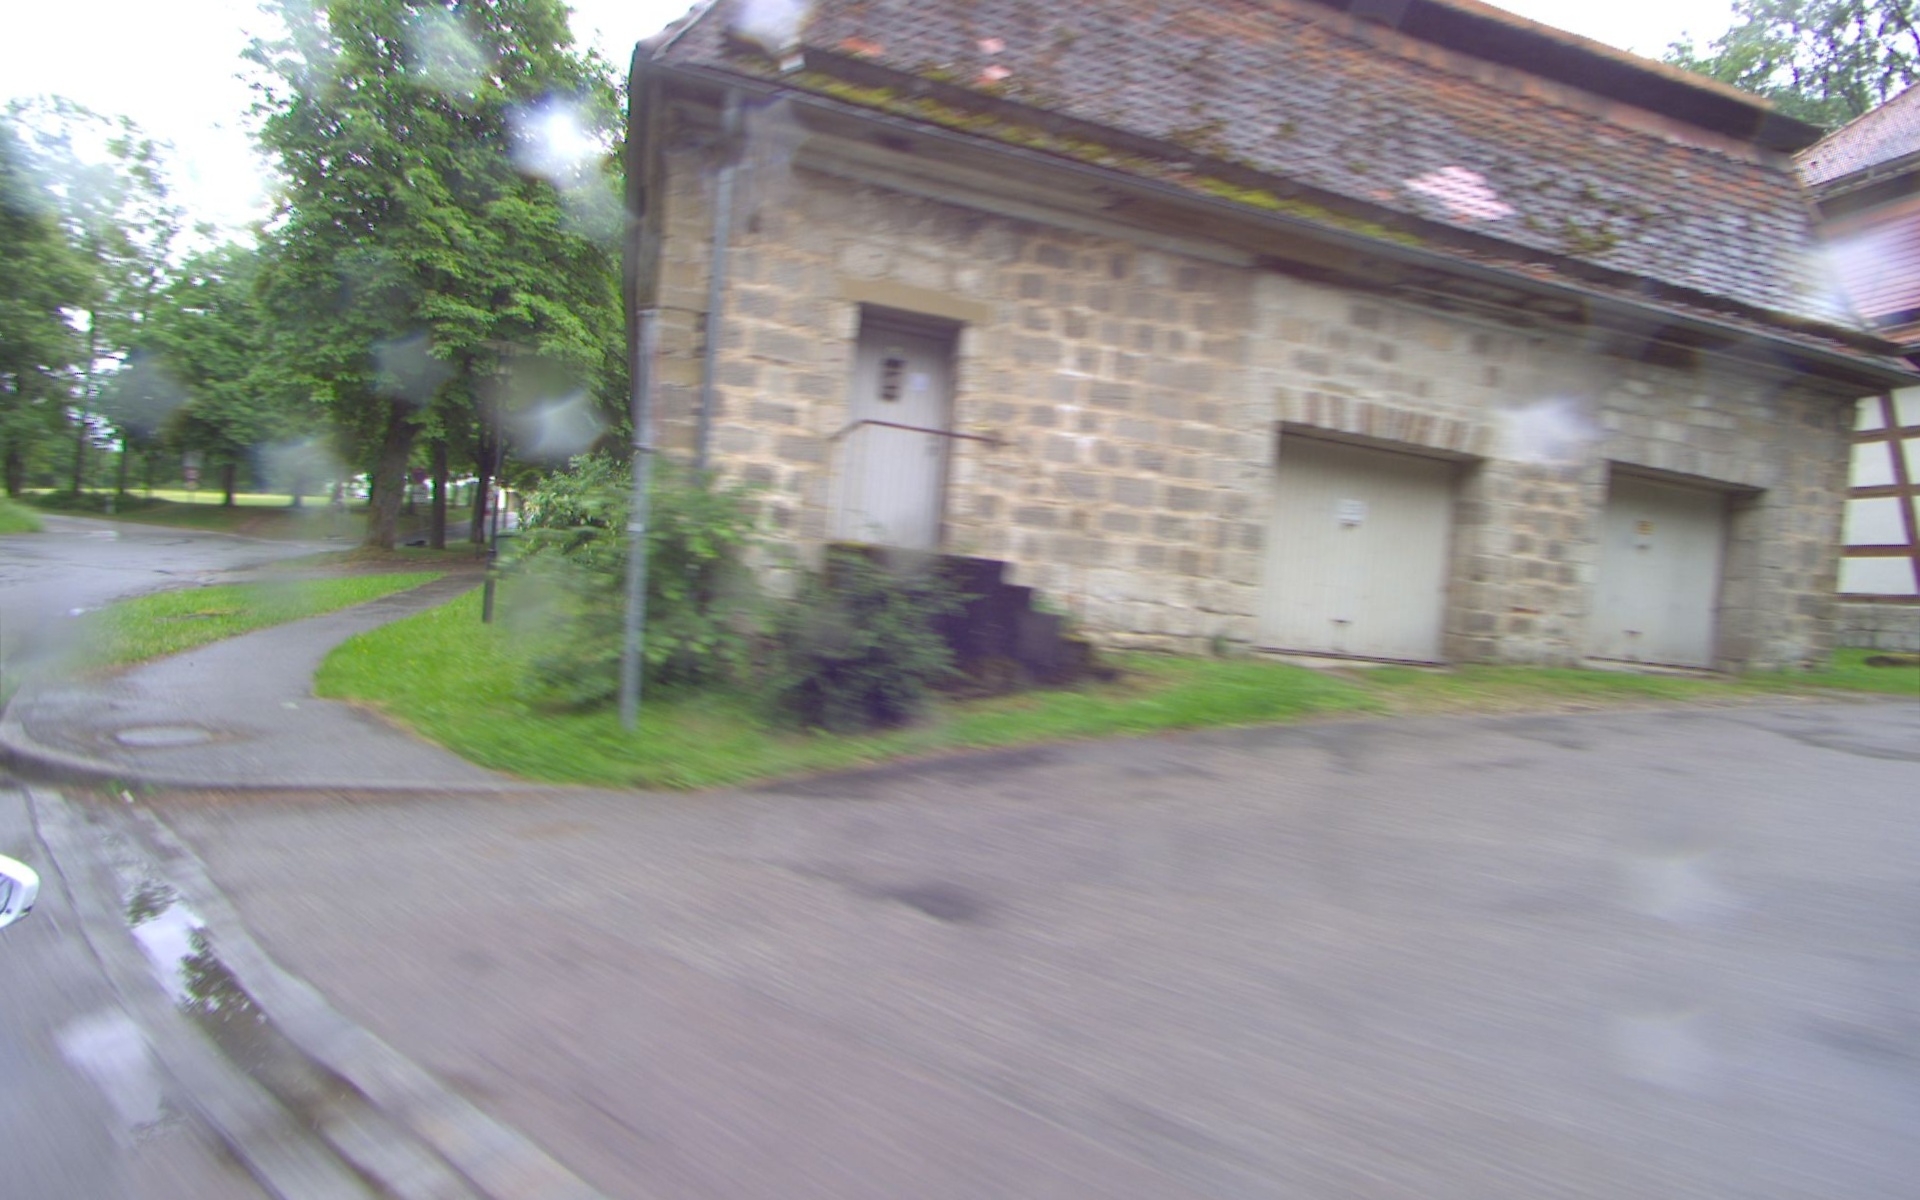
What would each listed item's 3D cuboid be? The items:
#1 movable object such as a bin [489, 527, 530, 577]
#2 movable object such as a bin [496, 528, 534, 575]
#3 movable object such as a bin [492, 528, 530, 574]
[{"bbox_3d":[-9.736,-1.039,21.762,0.686,1.055,0.573,-2,5,-17],"label":"movable object such as a bin"},{"bbox_3d":[-10.144,-1.110,22.955,0.686,1.055,0.573,-2,5,-17],"label":"movable object such as a bin"},{"bbox_3d":[-10.508,-1.156,23.545,0.686,1.055,0.657,-2,5,-17],"label":"movable object such as a bin"}]
